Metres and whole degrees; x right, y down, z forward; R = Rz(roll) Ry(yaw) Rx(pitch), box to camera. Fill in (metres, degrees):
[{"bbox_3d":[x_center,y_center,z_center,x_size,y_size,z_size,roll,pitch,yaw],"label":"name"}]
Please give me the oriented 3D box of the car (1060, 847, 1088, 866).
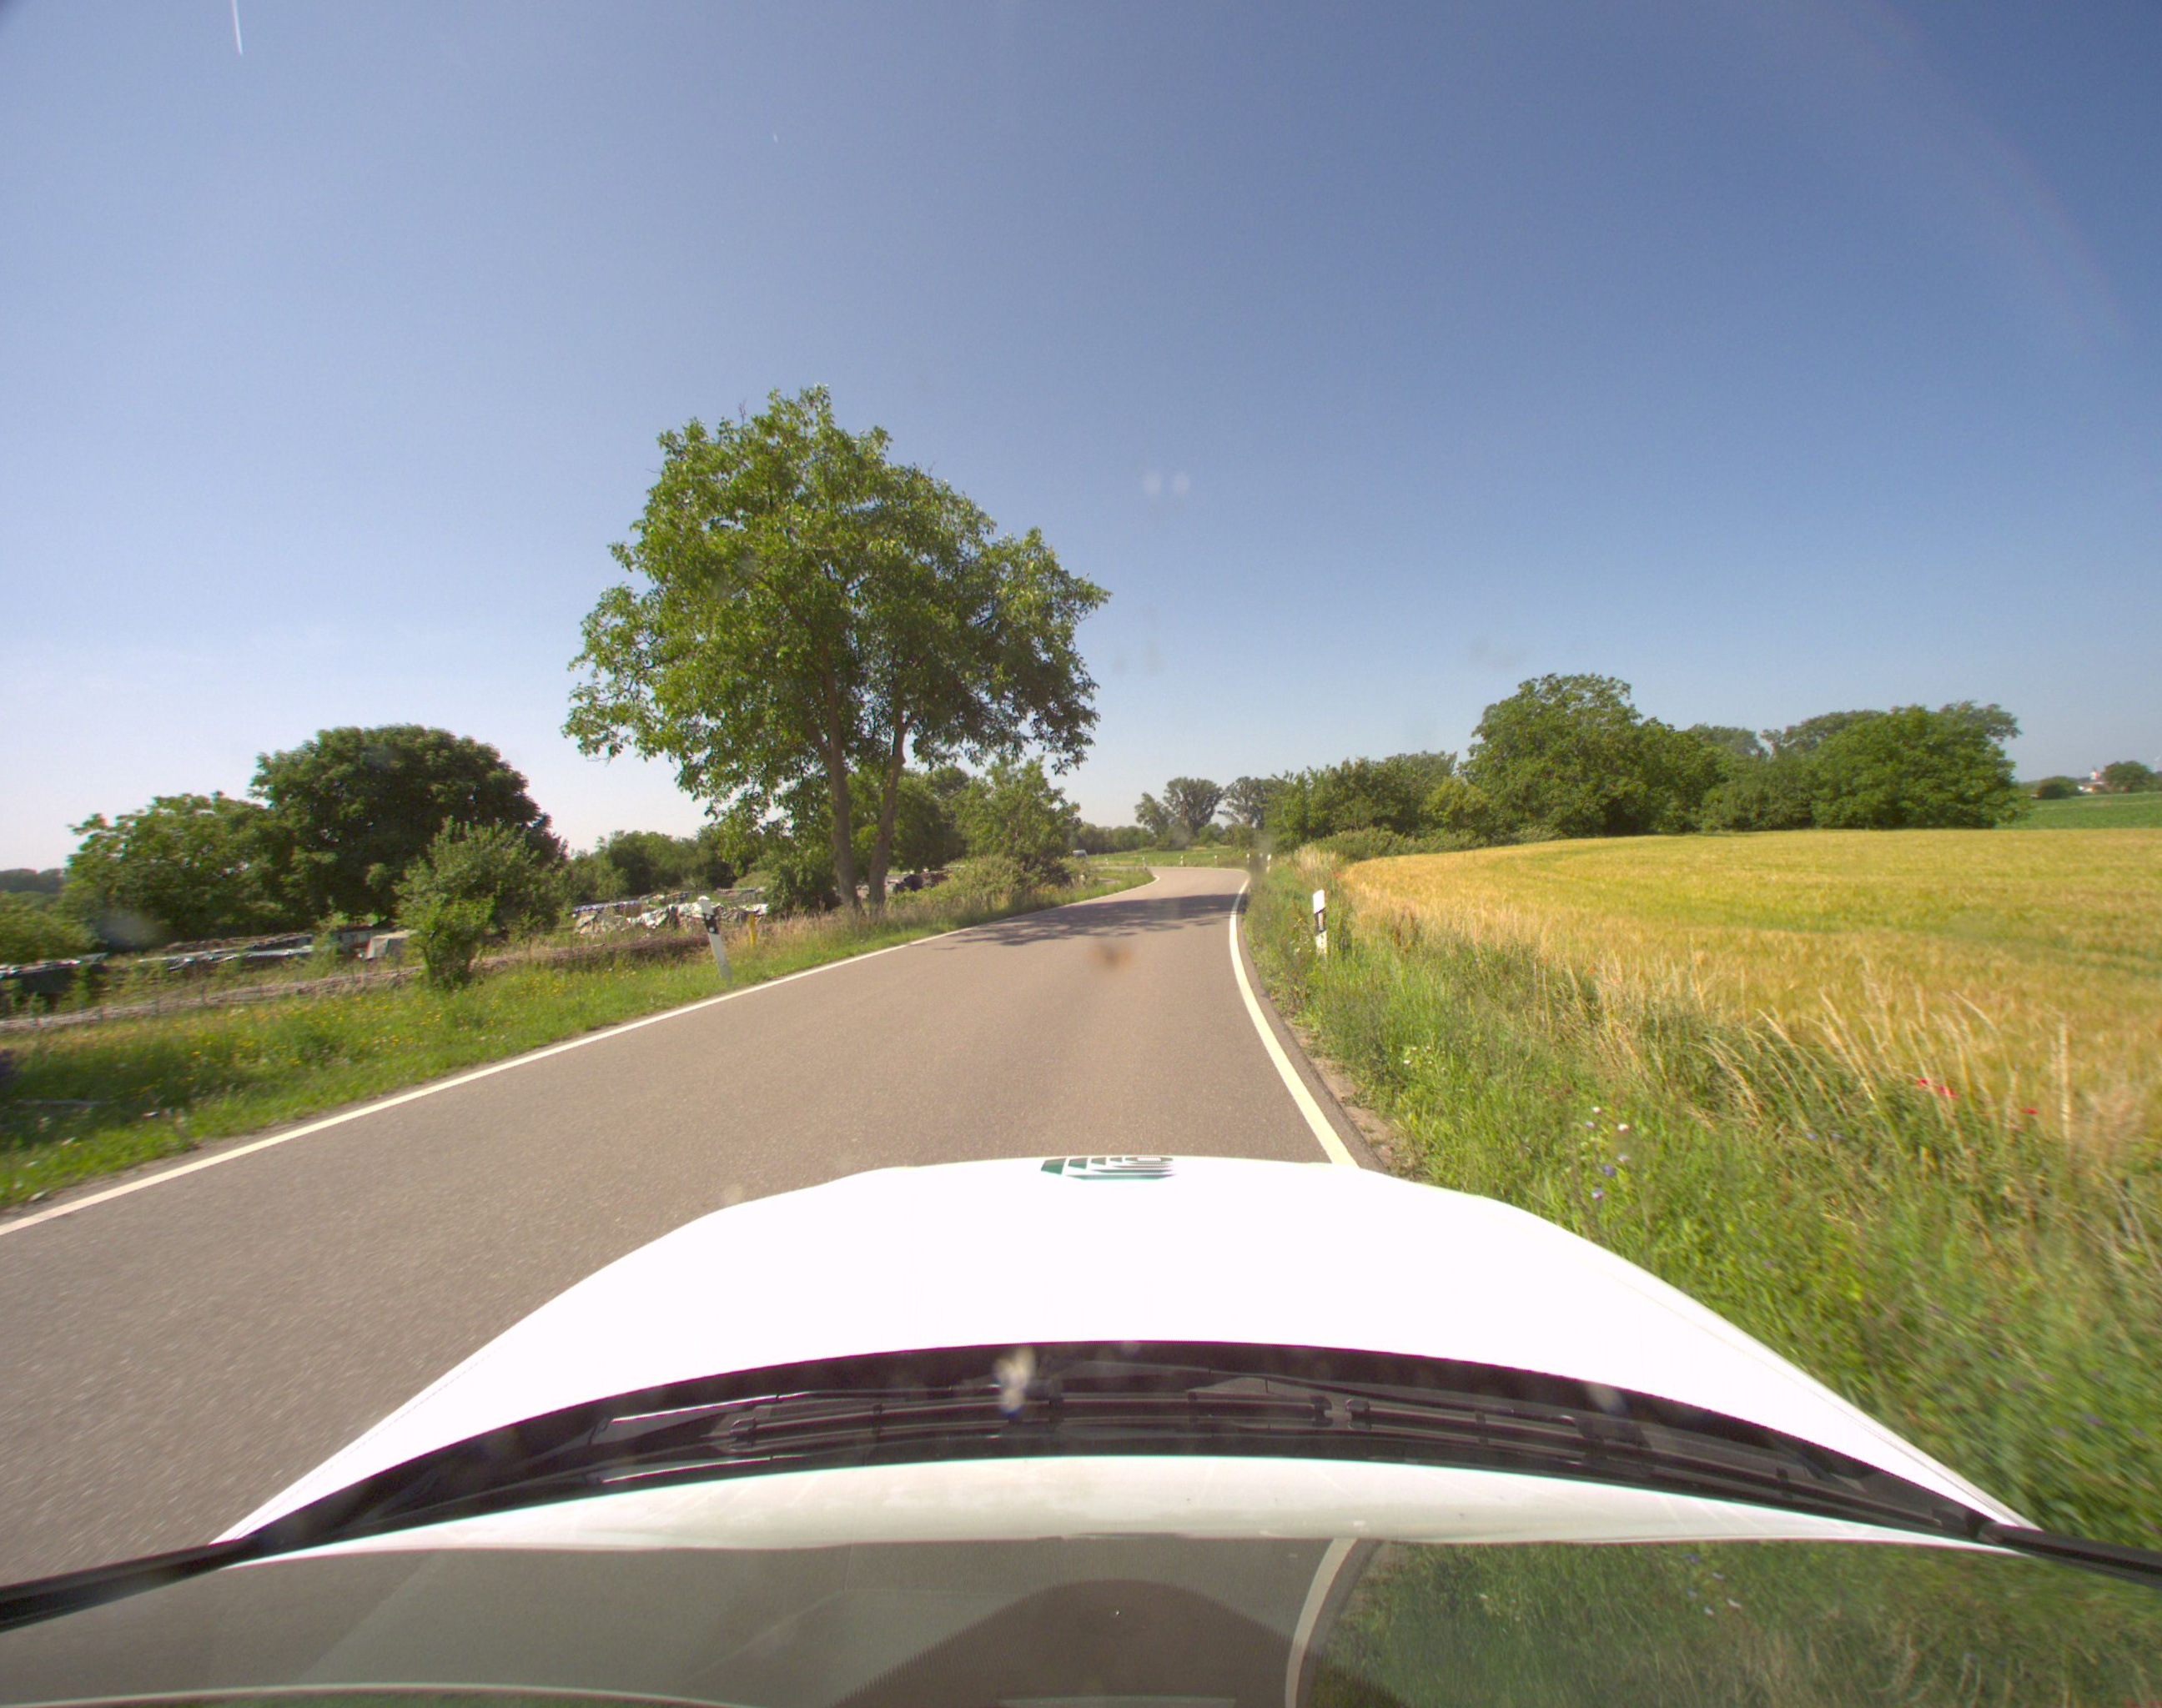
[{"bbox_3d":[-1.006,0.395,110.653,2.111,2.366,5.650,-4,1,-19],"label":"car"}]
